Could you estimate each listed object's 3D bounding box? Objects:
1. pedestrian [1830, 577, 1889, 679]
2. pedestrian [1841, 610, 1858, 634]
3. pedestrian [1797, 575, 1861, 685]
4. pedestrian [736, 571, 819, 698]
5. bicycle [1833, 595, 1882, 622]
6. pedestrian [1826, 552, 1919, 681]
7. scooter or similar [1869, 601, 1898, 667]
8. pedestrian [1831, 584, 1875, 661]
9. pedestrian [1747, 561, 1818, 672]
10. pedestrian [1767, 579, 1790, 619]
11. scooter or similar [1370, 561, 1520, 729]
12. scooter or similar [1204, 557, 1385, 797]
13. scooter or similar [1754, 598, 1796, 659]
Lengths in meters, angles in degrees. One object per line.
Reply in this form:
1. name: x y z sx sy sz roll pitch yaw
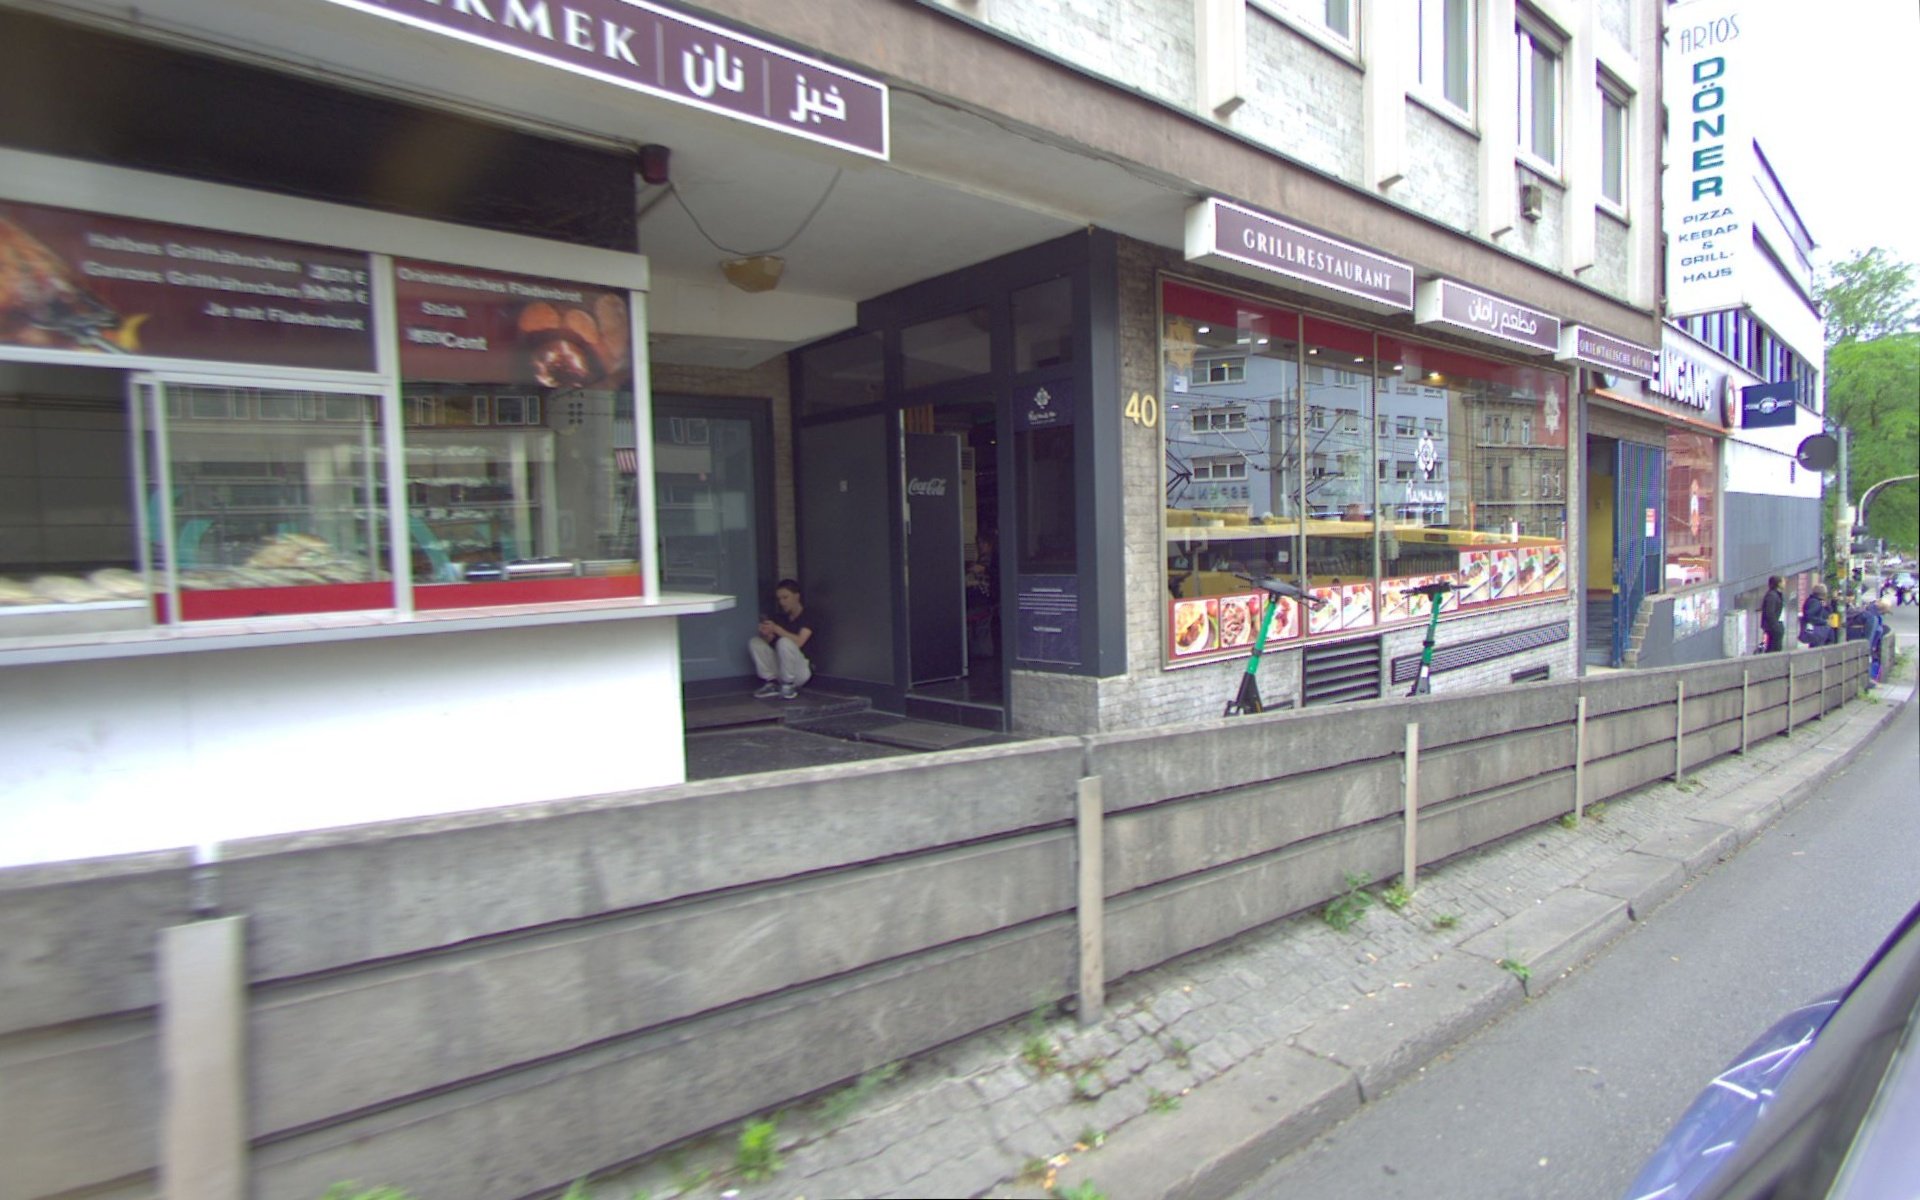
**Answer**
1. pedestrian: 16.497 0.488 18.569 0.644 1.816 0.738 0 1 -43
2. pedestrian: 36.013 0.891 40.983 0.484 0.922 0.573 2 0 45
3. pedestrian: 13.966 0.465 16.272 0.581 1.671 0.563 0 6 -44
4. pedestrian: -1.490 0.267 8.261 0.486 0.991 0.508 0 1 -37
5. bicycle: 43.182 0.400 48.715 1.737 1.237 0.534 2 1 38
6. pedestrian: 15.917 0.268 17.625 0.765 2.086 0.949 0 7 -43
7. scooter or similar: 18.540 0.676 20.314 0.354 1.292 0.800 3 2 44
8. pedestrian: 21.311 0.519 24.144 0.720 1.808 0.869 -1 -1 44
9. pedestrian: 14.376 0.274 17.702 0.643 1.829 0.728 0 5 -43
10. pedestrian: 39.217 -0.039 48.498 0.865 1.914 0.706 0 -1 -42
11. scooter or similar: 3.987 0.330 8.292 1.310 1.265 0.632 0 1 -41
12. scooter or similar: 2.304 0.470 6.932 1.158 1.494 0.669 0 1 -41
13. scooter or similar: 17.622 0.607 21.884 0.961 1.292 0.429 0 0 -34
